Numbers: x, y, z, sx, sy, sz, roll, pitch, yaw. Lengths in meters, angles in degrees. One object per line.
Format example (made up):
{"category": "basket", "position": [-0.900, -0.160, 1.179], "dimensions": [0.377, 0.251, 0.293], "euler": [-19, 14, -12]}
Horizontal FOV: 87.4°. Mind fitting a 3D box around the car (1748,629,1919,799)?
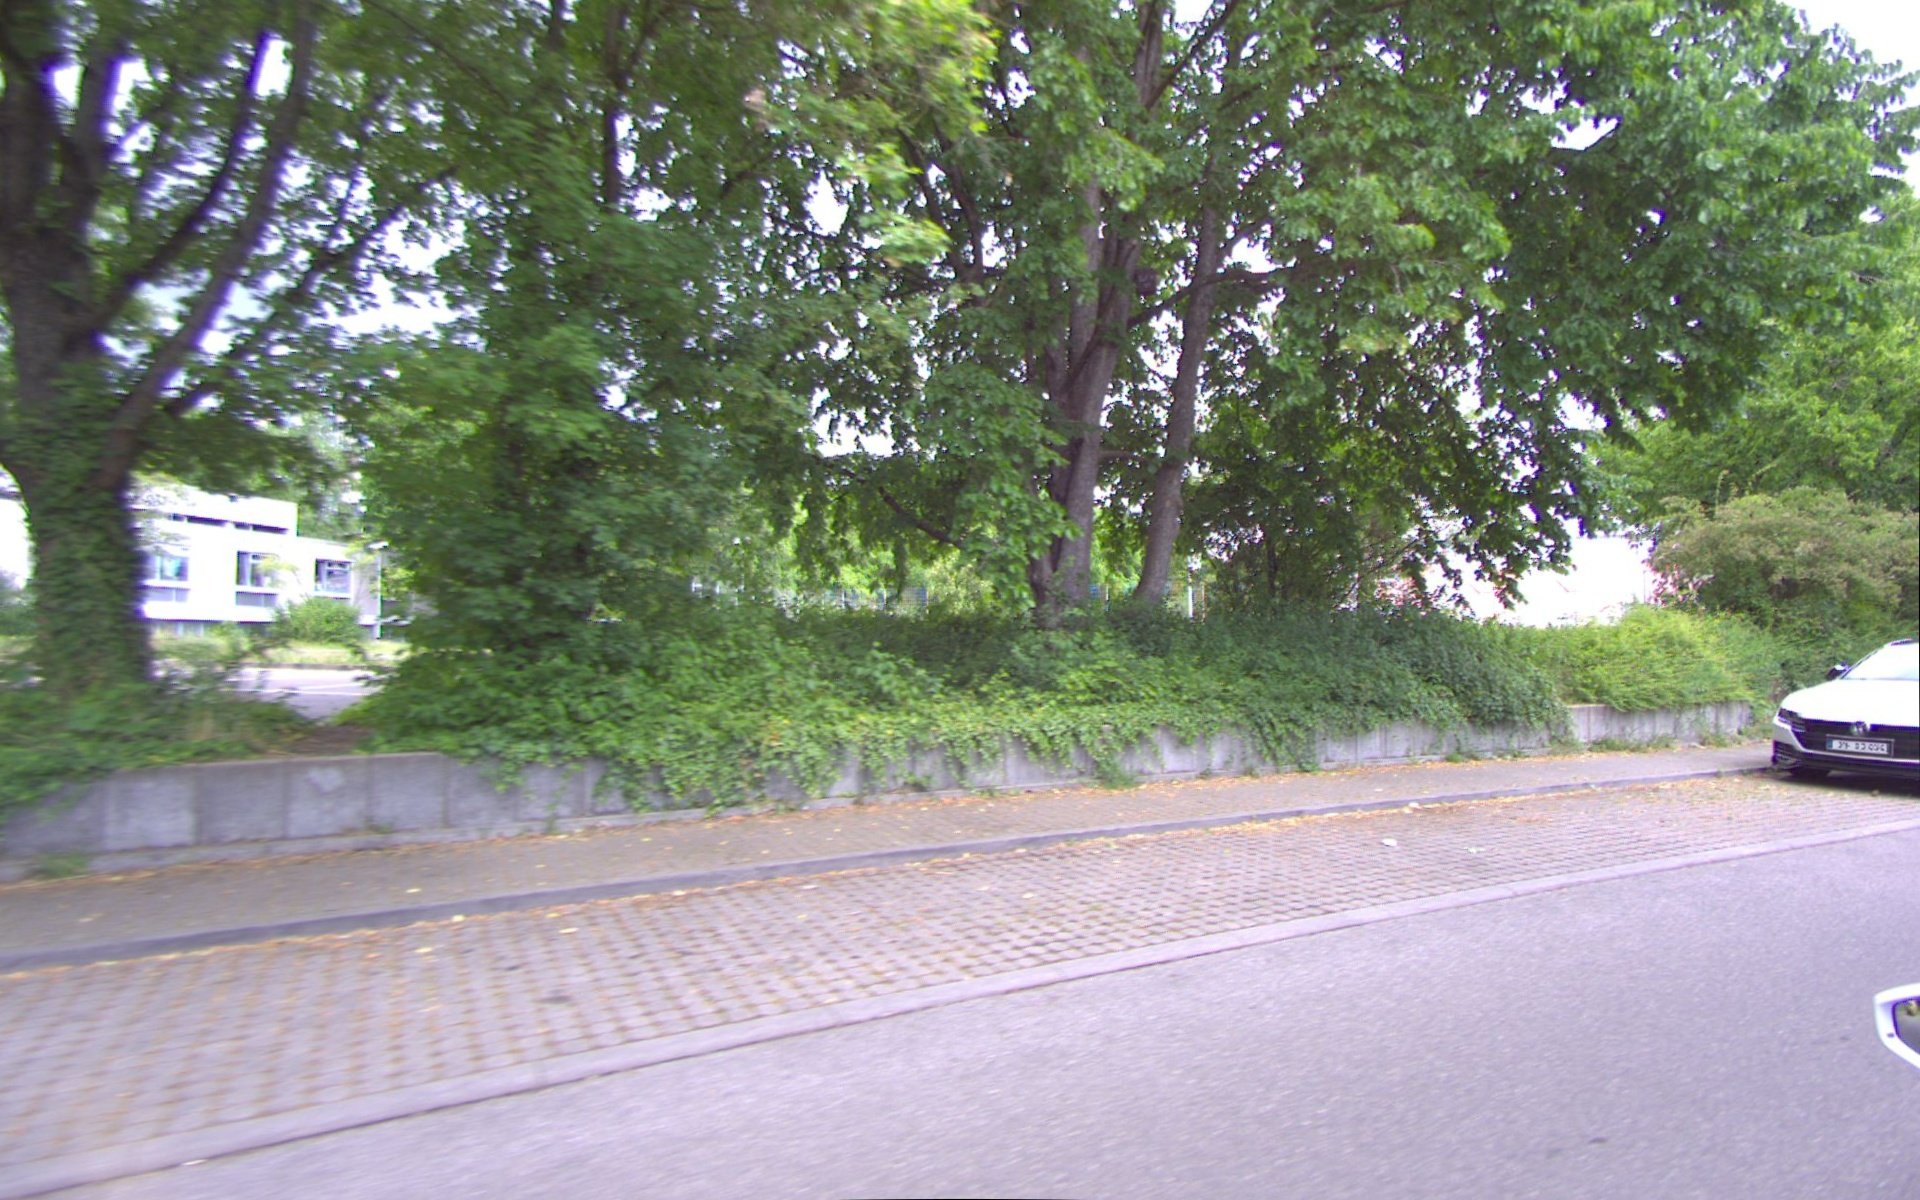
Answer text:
{"category": "car", "position": [10.028, 1.040, 9.950], "dimensions": [4.302, 1.443, 1.808], "euler": [1, -1, -26]}
